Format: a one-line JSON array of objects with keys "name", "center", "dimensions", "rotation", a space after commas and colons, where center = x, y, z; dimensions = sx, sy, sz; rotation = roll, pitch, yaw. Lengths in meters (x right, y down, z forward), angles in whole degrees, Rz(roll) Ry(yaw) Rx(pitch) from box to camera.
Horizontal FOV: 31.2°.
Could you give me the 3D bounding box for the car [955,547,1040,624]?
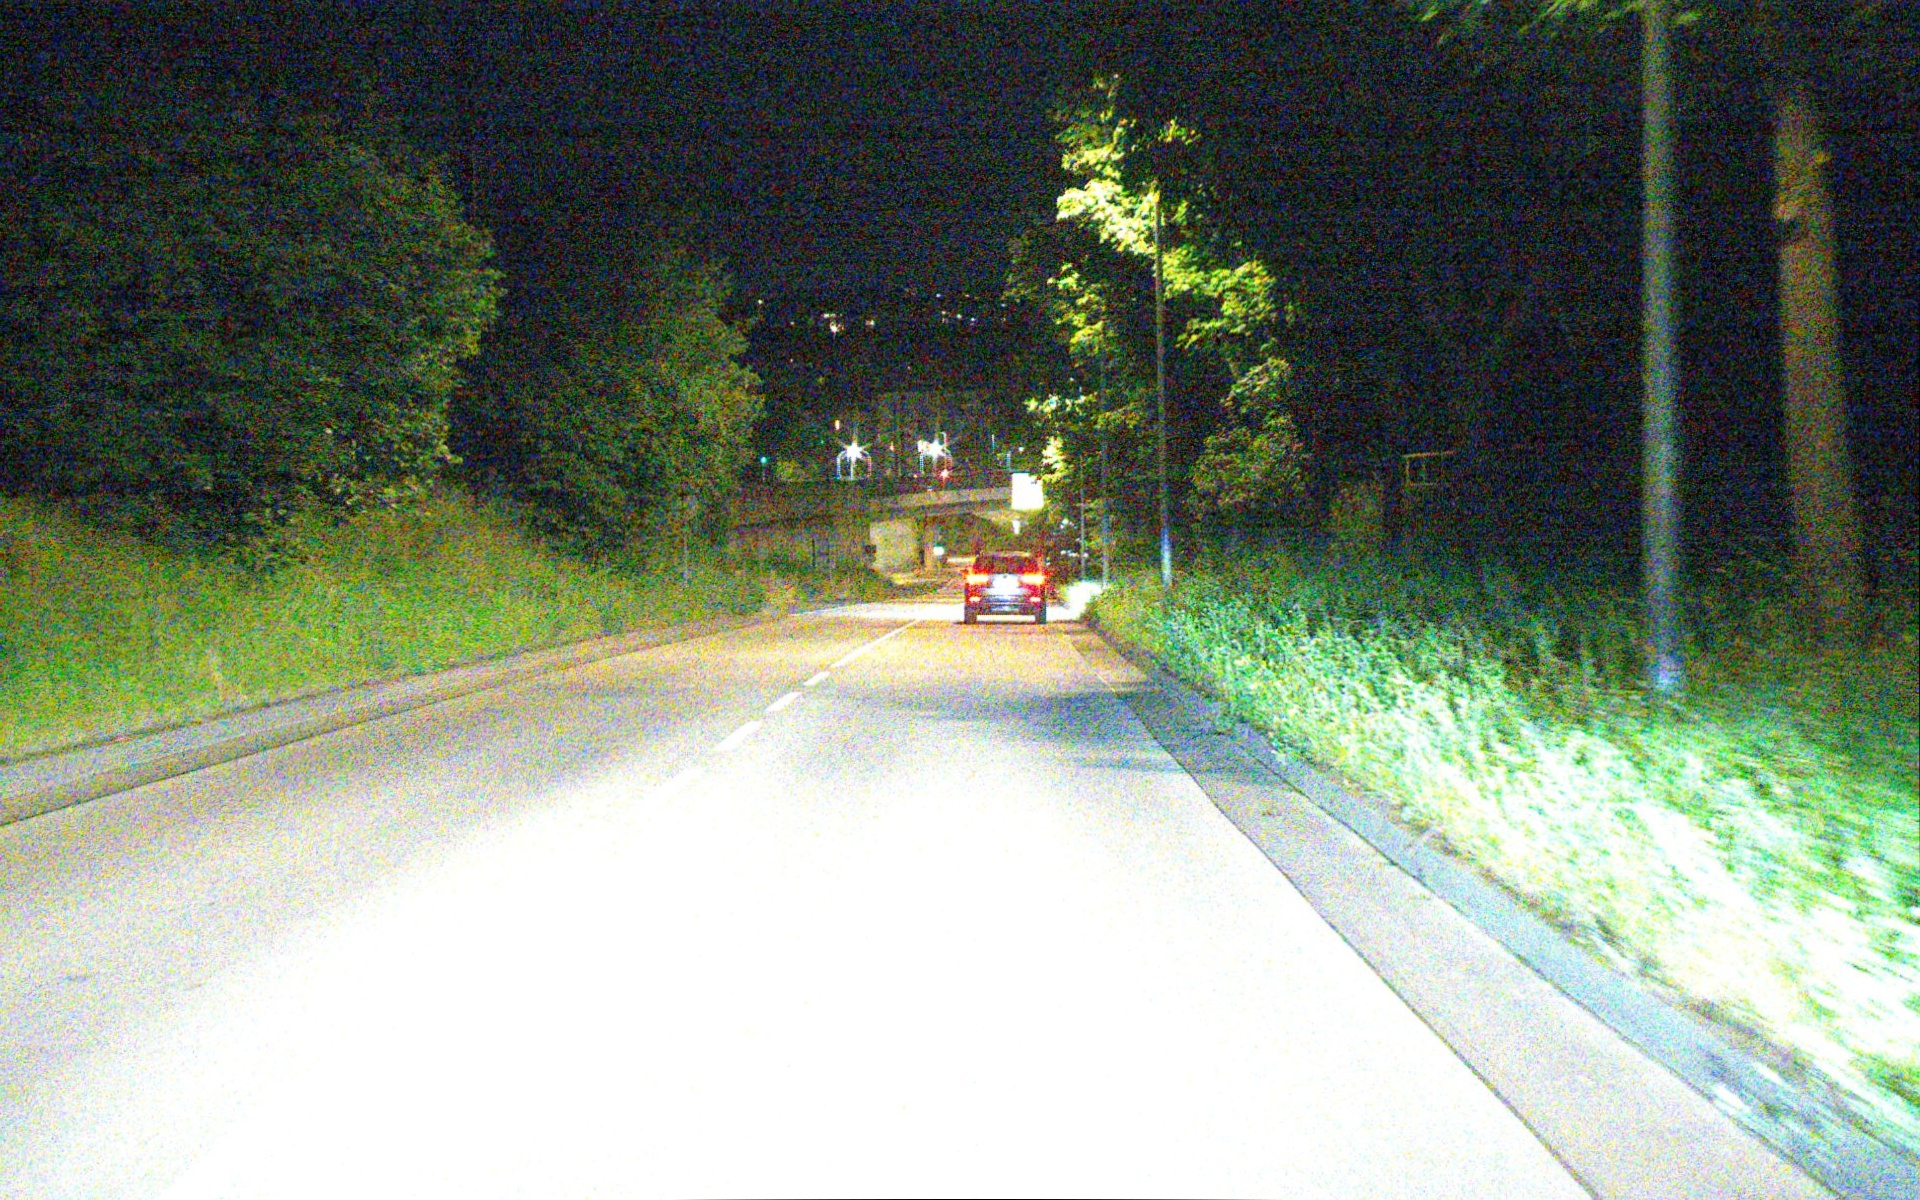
[{"name": "car", "center": [0.851, -0.346, 76.229], "dimensions": [1.763, 1.636, 3.723], "rotation": [0, 1, 2]}]
